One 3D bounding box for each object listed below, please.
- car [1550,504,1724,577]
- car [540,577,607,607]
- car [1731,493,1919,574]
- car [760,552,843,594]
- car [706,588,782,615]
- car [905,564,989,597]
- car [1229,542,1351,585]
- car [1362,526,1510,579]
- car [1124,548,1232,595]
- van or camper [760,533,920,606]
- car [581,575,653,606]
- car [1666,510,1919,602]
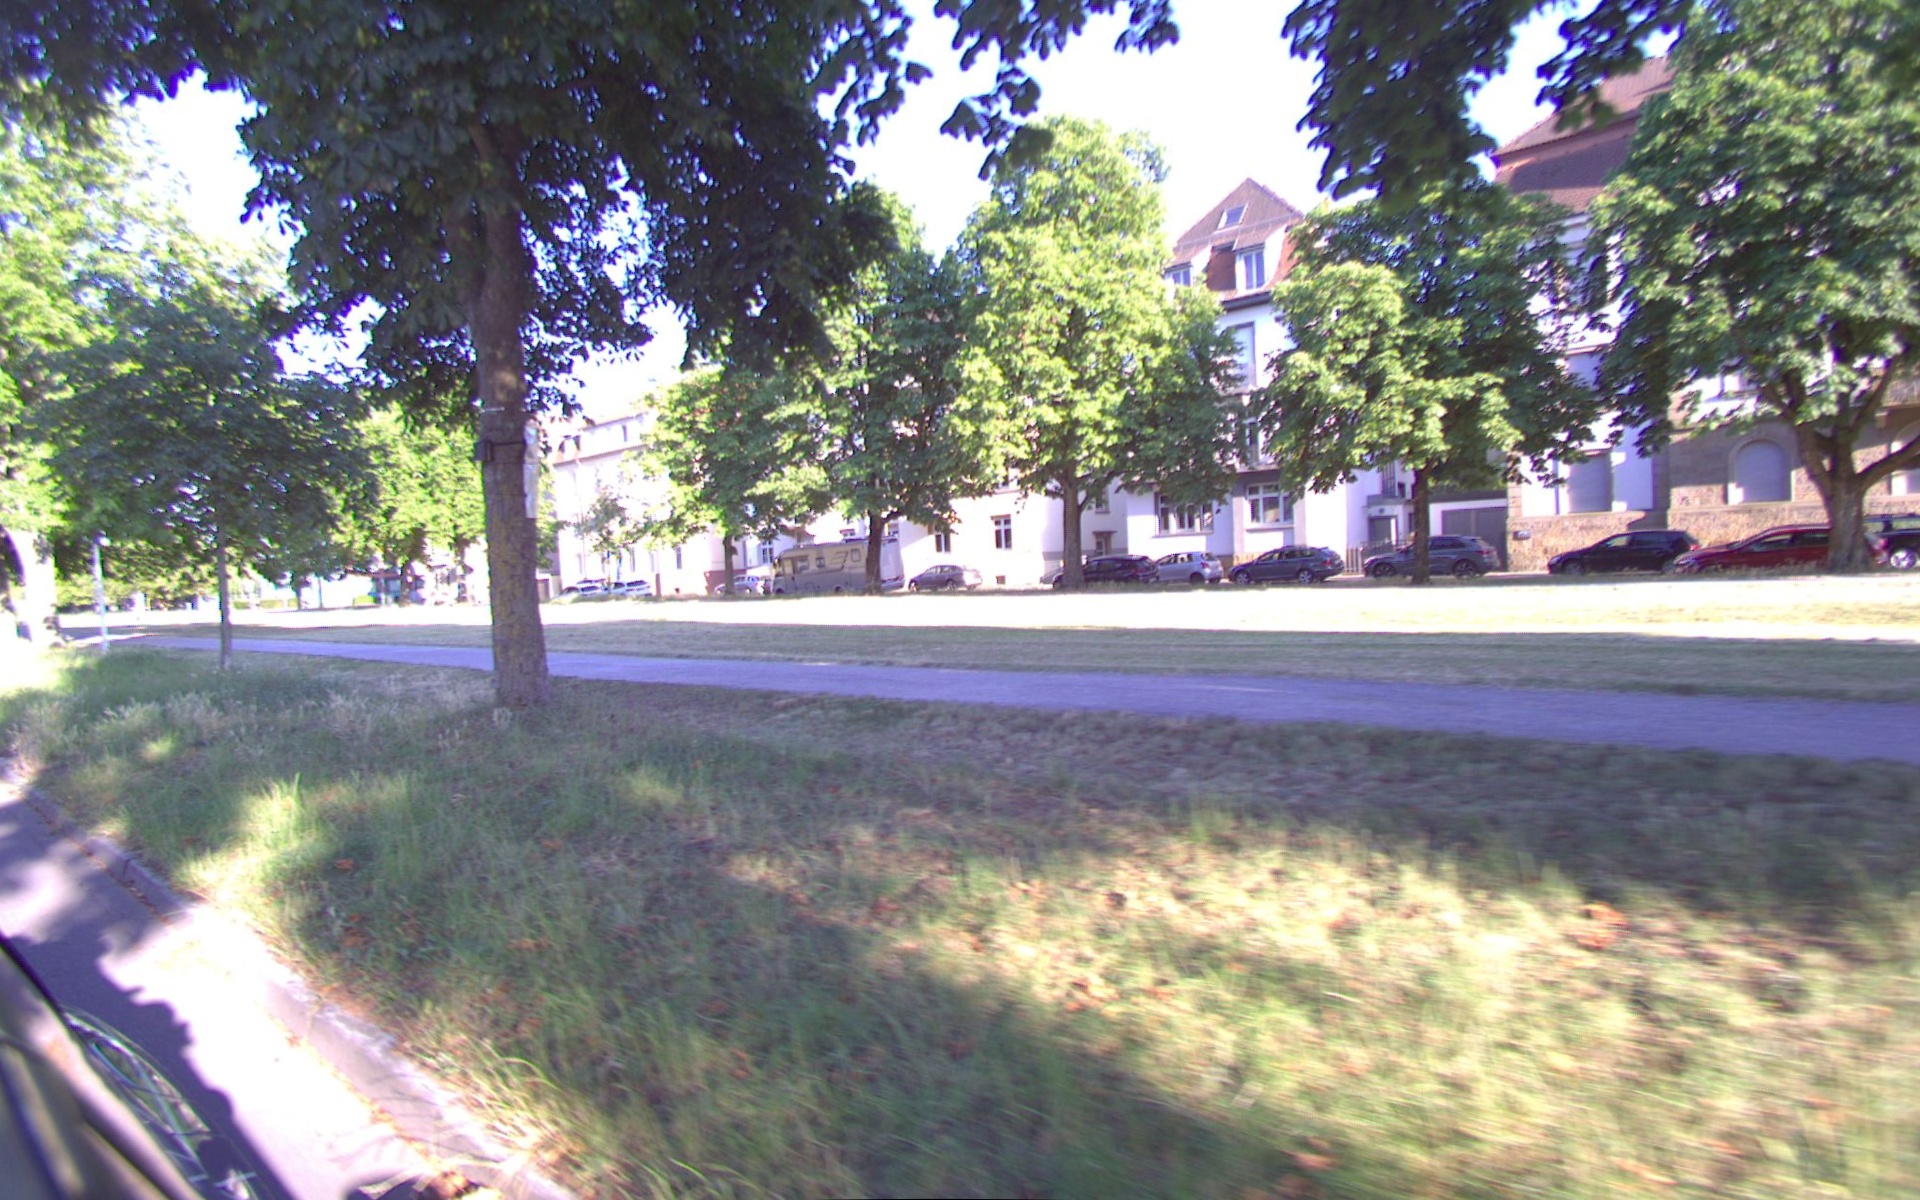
[{"bbox_3d":[21.581,-1.862,32.356,4.425,2.028,1.974,-1,3,40],"label":"car"},{"bbox_3d":[-25.280,-0.517,66.109,4.874,1.702,1.973,-1,3,42],"label":"car"},{"bbox_3d":[25.196,-1.876,28.905,4.876,2.028,1.972,-1,3,43],"label":"car"},{"bbox_3d":[-9.343,-1.544,59.483,4.872,2.218,1.974,-1,3,40],"label":"car"},{"bbox_3d":[-13.556,0.090,63.357,4.870,1.464,1.975,-1,3,39],"label":"car"},{"bbox_3d":[-0.699,-1.016,52.259,3.998,1.474,1.973,-1,3,41],"label":"car"},{"bbox_3d":[13.090,-1.449,40.288,4.164,1.440,1.974,-2,2,39],"label":"car"},{"bbox_3d":[17.030,-1.685,36.299,4.425,1.664,1.974,-1,3,40],"label":"car"},{"bbox_3d":[9.259,-1.213,43.181,4.000,1.747,1.972,-2,2,43],"label":"car"},{"bbox_3d":[-5.973,-1.416,49.346,7.894,3.133,3.221,-1,3,42],"label":"van or camper"},{"bbox_3d":[-21.140,-0.578,62.262,4.874,1.702,1.973,-1,3,42],"label":"car"},{"bbox_3d":[20.836,-1.064,25.391,4.876,2.028,1.972,-1,3,43],"label":"car"}]
